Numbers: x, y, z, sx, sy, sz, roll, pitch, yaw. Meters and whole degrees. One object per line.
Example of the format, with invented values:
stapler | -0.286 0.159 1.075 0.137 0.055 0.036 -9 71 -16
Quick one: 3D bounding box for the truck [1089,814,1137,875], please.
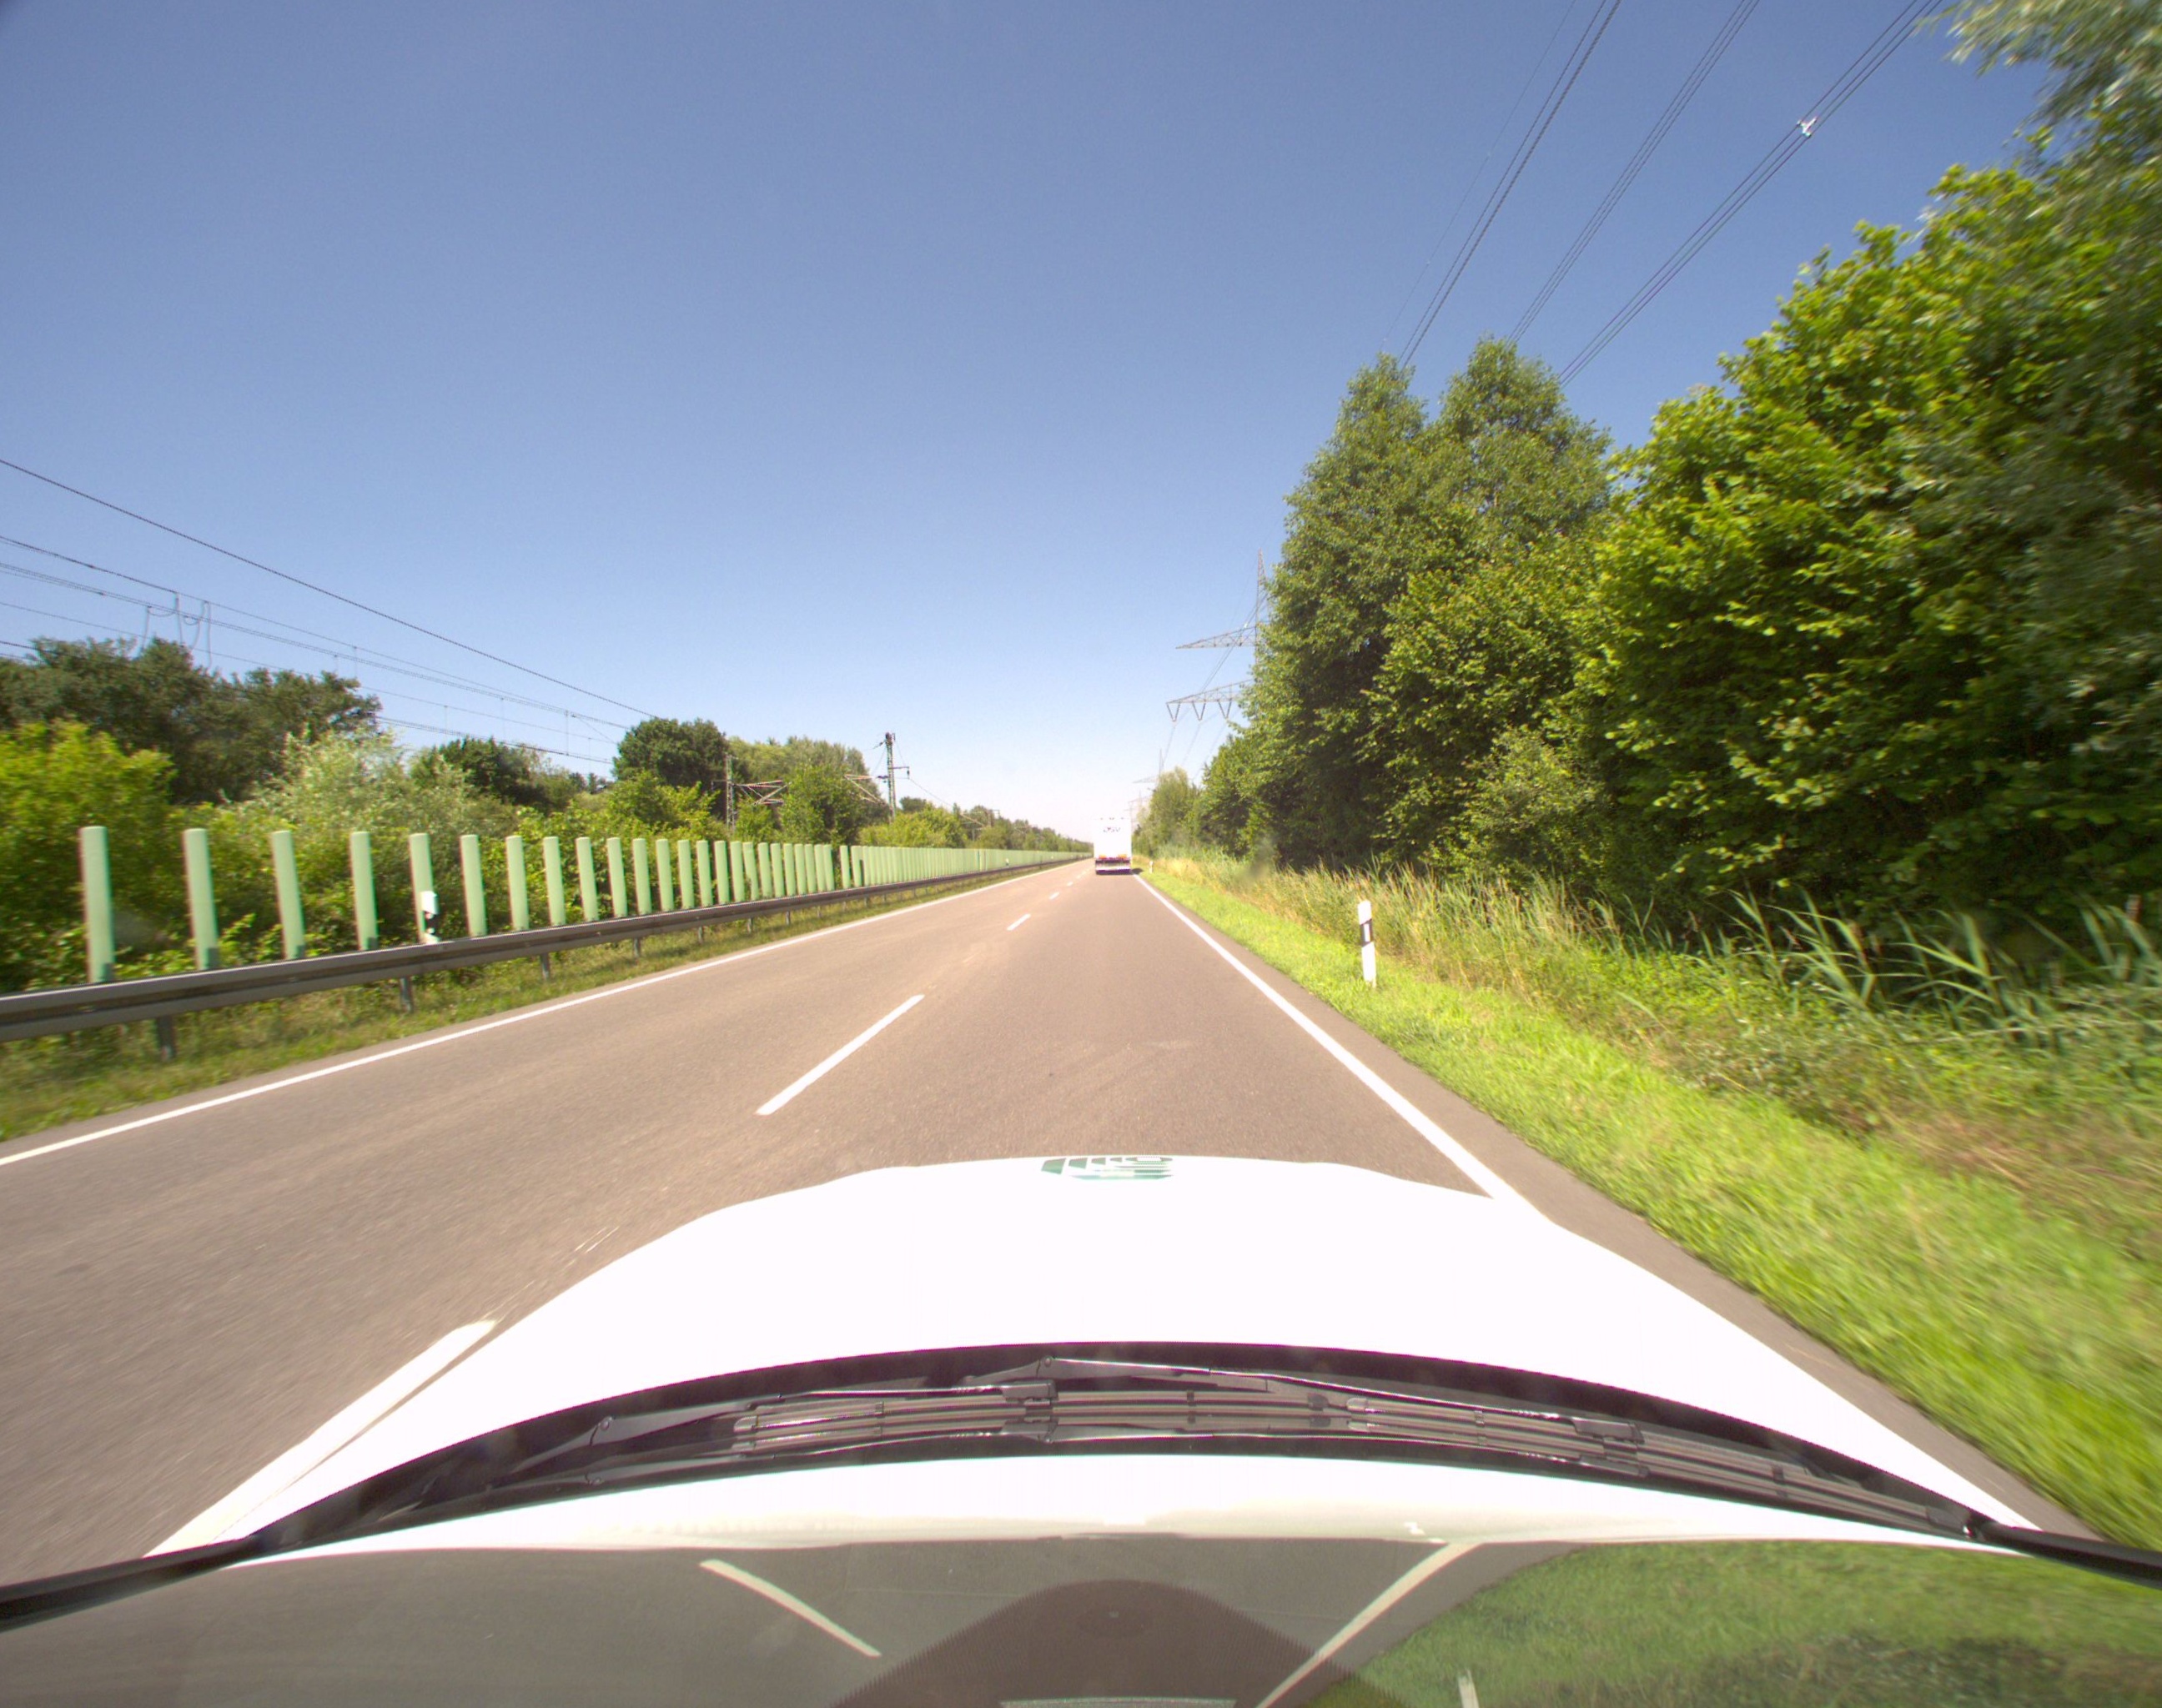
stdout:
truck | 2.340 -0.662 61.876 3.180 4.042 12.010 -2 0 2
